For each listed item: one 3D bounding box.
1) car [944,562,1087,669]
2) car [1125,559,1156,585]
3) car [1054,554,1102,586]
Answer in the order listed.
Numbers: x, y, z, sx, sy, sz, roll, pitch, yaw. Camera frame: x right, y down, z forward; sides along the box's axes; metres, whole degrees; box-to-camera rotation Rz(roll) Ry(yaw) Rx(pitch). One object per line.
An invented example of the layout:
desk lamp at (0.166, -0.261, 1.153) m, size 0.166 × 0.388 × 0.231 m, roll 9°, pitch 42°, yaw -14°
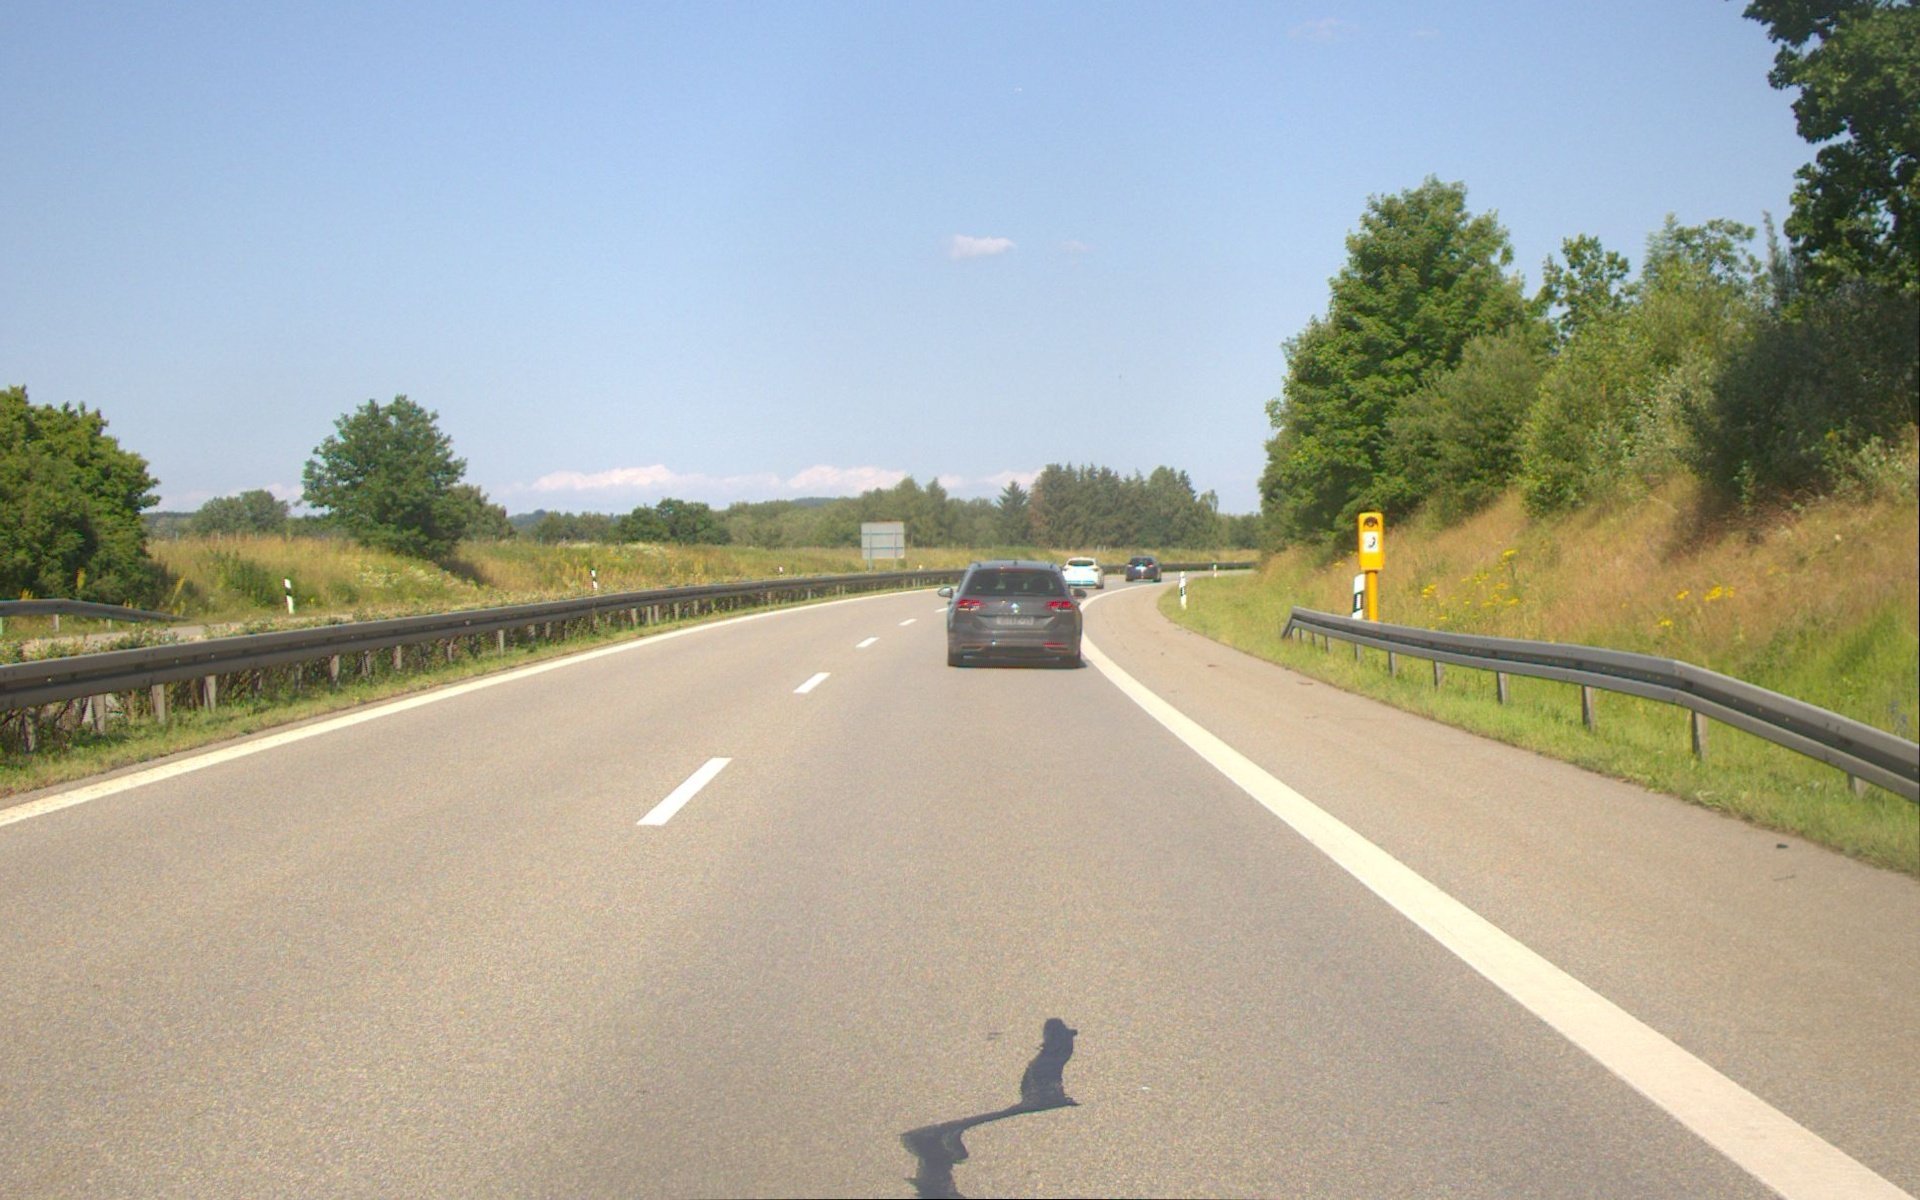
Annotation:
car at (0.708, 0.175, 46.362) m, size 1.791 × 1.340 × 4.000 m, roll 0°, pitch 1°, yaw -1°
car at (10.355, -1.600, 197.464) m, size 1.711 × 1.382 × 3.355 m, roll 2°, pitch 0°, yaw 3°
car at (5.336, -1.347, 155.541) m, size 2.007 × 1.340 × 3.999 m, roll 2°, pitch 0°, yaw 4°
